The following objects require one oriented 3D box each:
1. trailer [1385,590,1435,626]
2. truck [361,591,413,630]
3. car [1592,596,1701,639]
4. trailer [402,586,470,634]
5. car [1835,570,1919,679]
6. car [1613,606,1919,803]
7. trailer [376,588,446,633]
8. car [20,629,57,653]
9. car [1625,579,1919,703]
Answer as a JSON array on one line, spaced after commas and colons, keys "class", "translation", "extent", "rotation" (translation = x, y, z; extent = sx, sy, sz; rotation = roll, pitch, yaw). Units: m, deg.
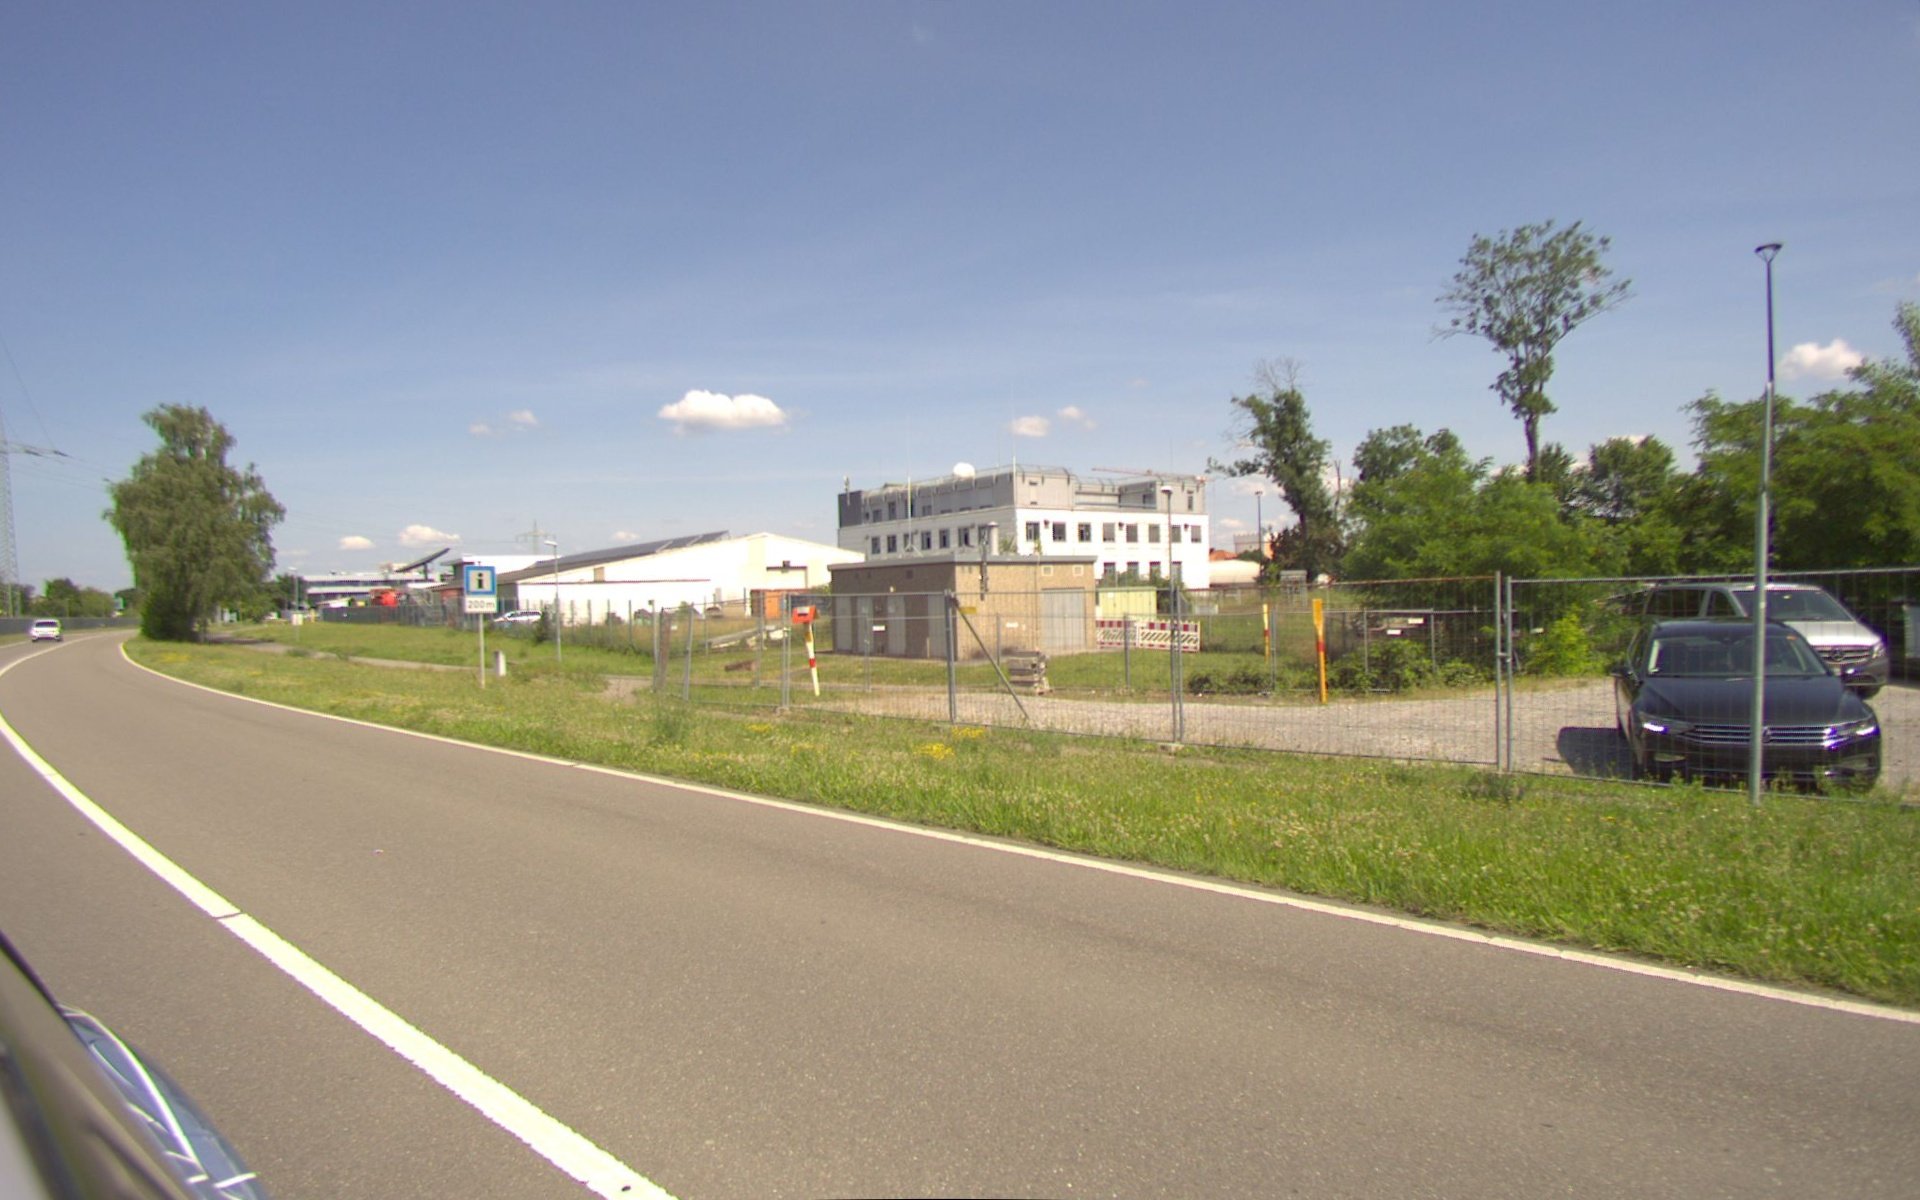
[{"class": "trailer", "translation": [24.824, 0.423, 55.977], "extent": [1.983, 1.894, 3.978], "rotation": [-1, 0, 17]}, {"class": "truck", "translation": [-57.131, 1.073, 100.722], "extent": [3.061, 3.672, 10.616], "rotation": [0, 0, -37]}, {"class": "car", "translation": [26.161, 0.644, 38.732], "extent": [1.978, 1.565, 3.987], "rotation": [-1, 0, 11]}, {"class": "trailer", "translation": [-42.141, 0.790, 81.257], "extent": [3.355, 3.672, 8.677], "rotation": [0, 0, -37]}, {"class": "car", "translation": [17.804, 0.422, 17.592], "extent": [1.979, 1.880, 4.299], "rotation": [-2, 1, 11]}, {"class": "car", "translation": [8.142, 0.870, 10.549], "extent": [1.993, 1.427, 4.933], "rotation": [-2, 0, 31]}, {"class": "trailer", "translation": [-49.328, 0.926, 90.613], "extent": [3.248, 3.672, 14.956], "rotation": [0, 0, -37]}, {"class": "car", "translation": [-74.756, 3.271, 82.151], "extent": [1.808, 1.820, 4.839], "rotation": [0, -1, -38]}, {"class": "car", "translation": [14.258, 0.606, 18.230], "extent": [1.979, 1.880, 5.005], "rotation": [-2, 1, 11]}]
